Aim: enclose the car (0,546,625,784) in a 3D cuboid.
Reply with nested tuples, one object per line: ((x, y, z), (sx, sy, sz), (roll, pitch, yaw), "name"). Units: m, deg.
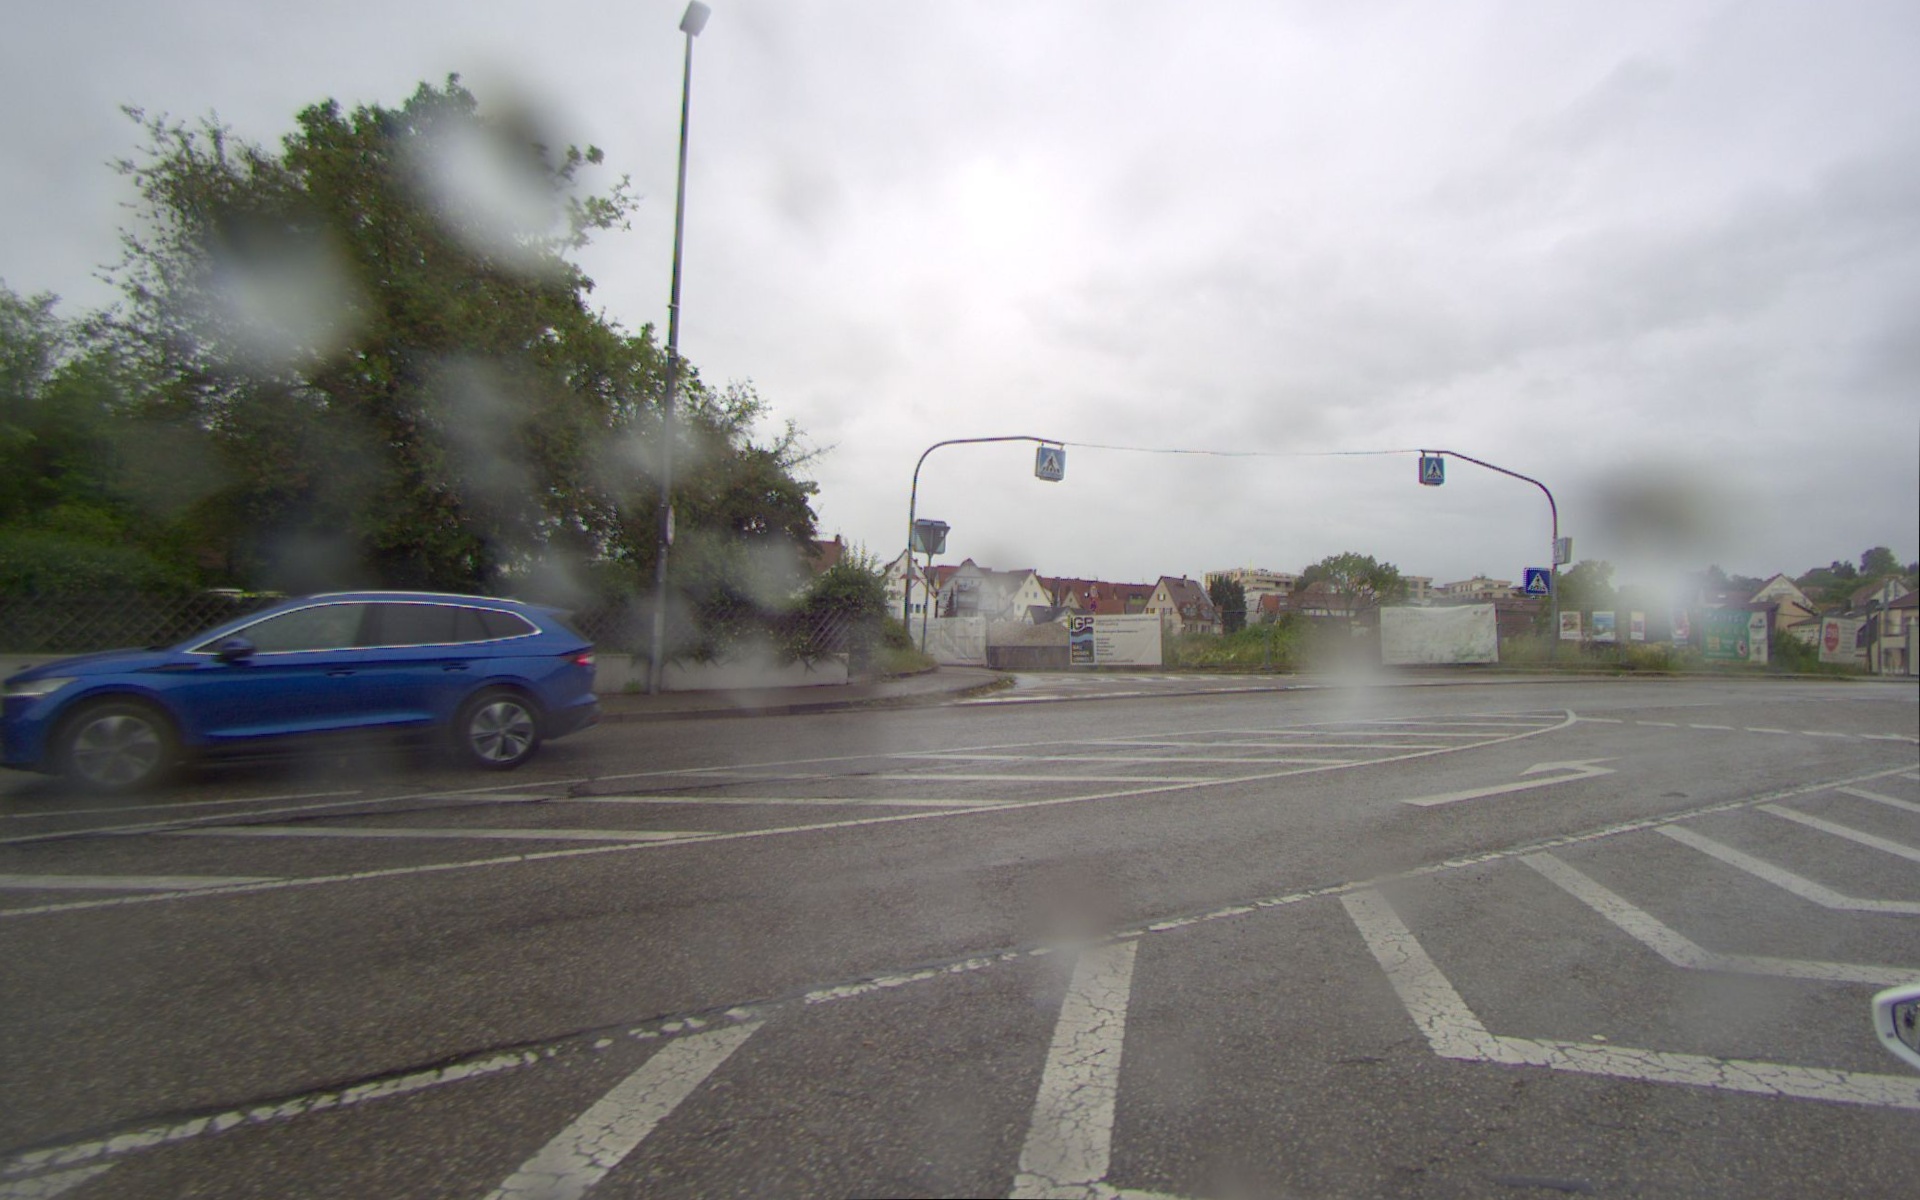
((-5.722, 0.552, 9.222), (4.655, 1.715, 1.982), (3, -1, -33), "car")
